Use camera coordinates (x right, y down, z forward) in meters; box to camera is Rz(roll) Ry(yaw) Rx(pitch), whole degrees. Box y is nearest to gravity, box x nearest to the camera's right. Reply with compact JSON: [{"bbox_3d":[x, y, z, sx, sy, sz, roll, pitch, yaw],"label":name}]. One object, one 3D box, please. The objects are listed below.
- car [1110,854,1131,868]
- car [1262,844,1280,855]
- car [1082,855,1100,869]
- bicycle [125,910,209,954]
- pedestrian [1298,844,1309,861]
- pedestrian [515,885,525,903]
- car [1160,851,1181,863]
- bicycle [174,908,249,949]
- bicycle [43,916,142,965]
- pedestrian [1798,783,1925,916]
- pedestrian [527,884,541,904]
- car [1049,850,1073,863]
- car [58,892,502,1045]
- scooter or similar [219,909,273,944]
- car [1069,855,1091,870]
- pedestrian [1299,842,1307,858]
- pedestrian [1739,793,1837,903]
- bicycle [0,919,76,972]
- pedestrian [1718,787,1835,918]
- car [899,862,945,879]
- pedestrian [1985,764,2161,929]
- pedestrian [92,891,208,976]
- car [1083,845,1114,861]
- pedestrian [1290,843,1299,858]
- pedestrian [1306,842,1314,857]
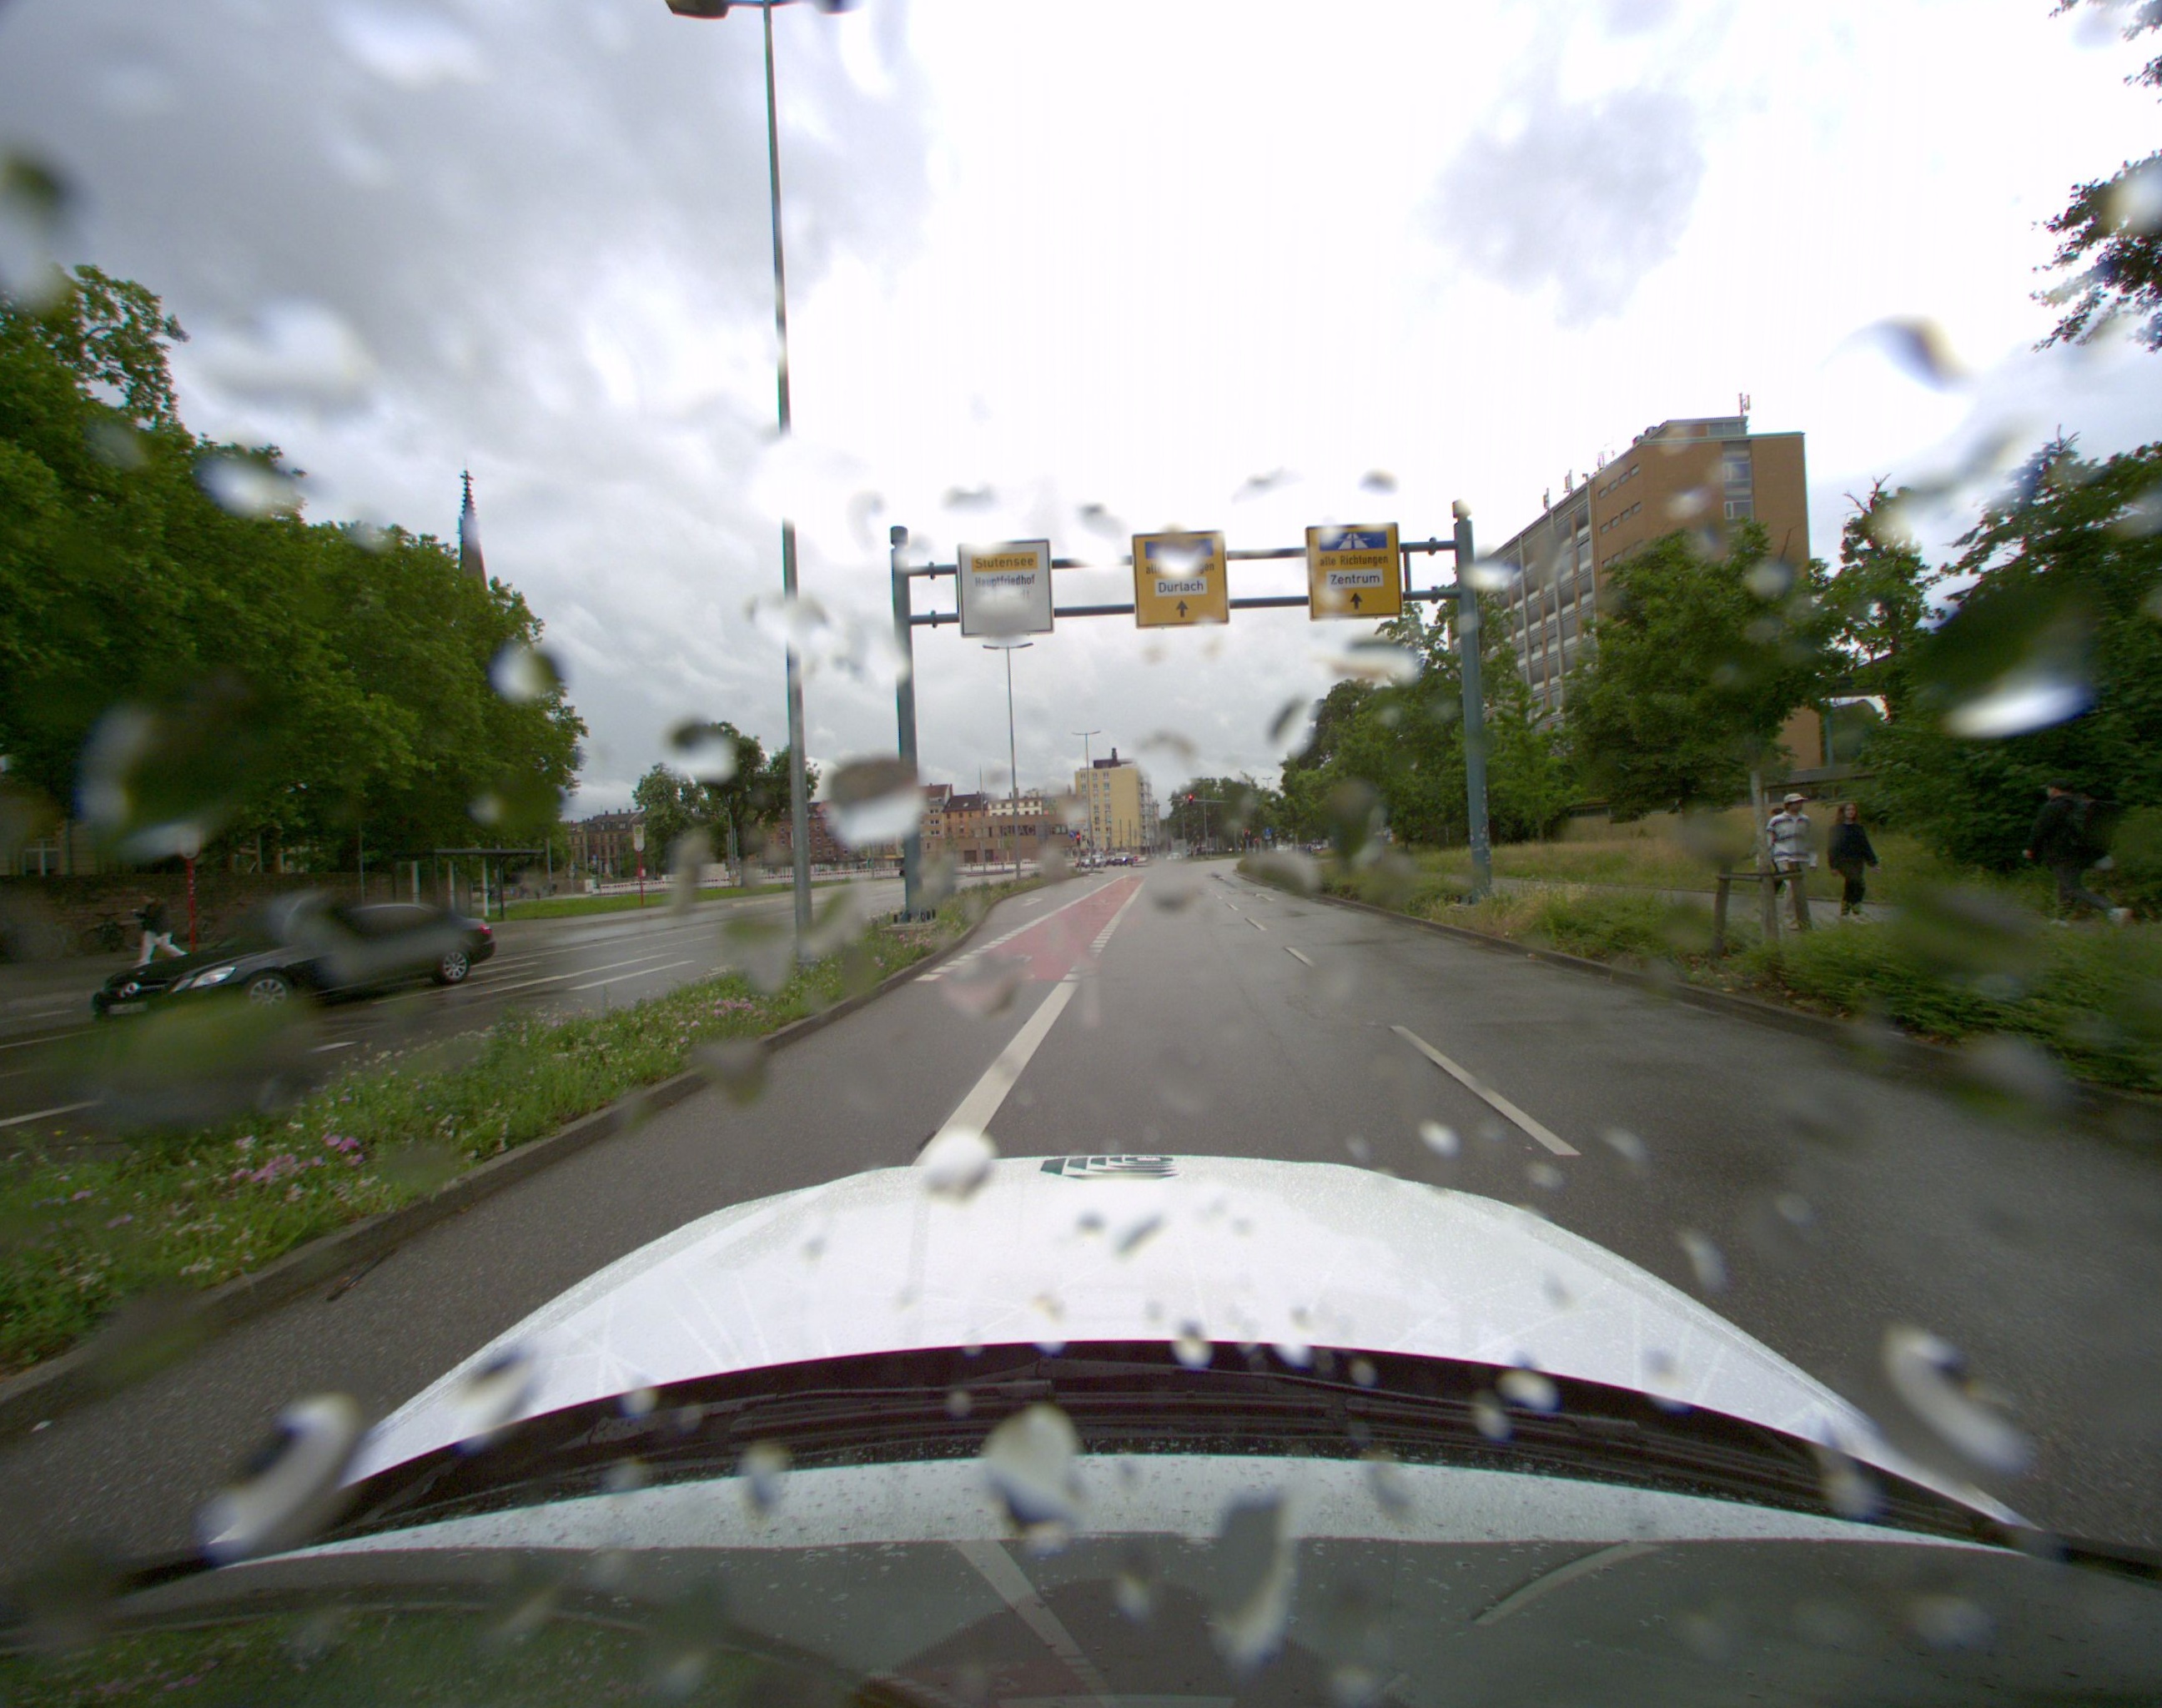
[{"bbox_3d":[5.190,0.886,106.164,1.981,1.636,4.617,-5,0,11],"label":"car"},{"bbox_3d":[31.857,-0.762,136.179,1.773,1.643,4.185,-3,0,29],"label":"car"},{"bbox_3d":[1.209,0.909,95.510,1.670,1.404,4.165,-4,0,6],"label":"car"},{"bbox_3d":[-27.755,2.347,24.766,0.573,1.136,1.983,-3,0,-11],"label":"bicycle"},{"bbox_3d":[22.050,-0.134,80.714,1.014,1.588,0.941,-3,0,18],"label":"pedestrian"},{"bbox_3d":[-59.116,4.217,85.792,0.602,1.890,0.602,-3,0,2],"label":"pedestrian"},{"bbox_3d":[13.323,0.448,121.031,1.663,1.501,3.892,-4,0,28],"label":"car"},{"bbox_3d":[-28.456,2.405,26.694,0.573,1.136,1.983,-3,0,-11],"label":"bicycle"},{"bbox_3d":[-27.296,2.364,22.544,0.573,1.136,1.983,-3,0,-11],"label":"bicycle"},{"bbox_3d":[10.503,-0.075,11.000,0.928,1.703,0.831,-2,3,9],"label":"pedestrian"},{"bbox_3d":[-51.881,3.810,77.285,0.720,1.777,0.776,-3,0,7],"label":"pedestrian"},{"bbox_3d":[-4.900,0.519,196.921,5.317,2.887,2.346,-3,0,10],"label":"car"},{"bbox_3d":[-11.691,1.546,12.511,1.800,1.540,4.710,-5,0,5],"label":"car"},{"bbox_3d":[-28.788,2.477,28.099,0.572,1.046,1.357,-3,0,-11],"label":"scooter or similar"},{"bbox_3d":[-0.080,1.117,104.629,1.692,1.706,3.837,-3,0,17],"label":"car"},{"bbox_3d":[23.320,-0.415,85.663,0.697,1.588,0.941,-3,0,18],"label":"pedestrian"},{"bbox_3d":[12.203,-0.104,14.095,0.927,1.797,0.831,-3,0,10],"label":"pedestrian"},{"bbox_3d":[-26.707,2.302,20.567,0.574,1.136,1.981,-3,0,-15],"label":"bicycle"},{"bbox_3d":[9.566,-0.038,11.243,0.928,1.720,0.831,-2,3,9],"label":"pedestrian"},{"bbox_3d":[-15.957,1.652,81.833,4.176,1.402,1.618,-3,0,1],"label":"car"},{"bbox_3d":[11.460,-0.084,9.362,0.927,1.747,1.049,-3,0,11],"label":"pedestrian"},{"bbox_3d":[-20.391,1.710,17.882,0.866,1.695,1.399,-3,0,-2],"label":"pedestrian"},{"bbox_3d":[4.228,-0.265,195.075,6.699,3.380,2.818,-3,0,10],"label":"car"},{"bbox_3d":[22.619,-0.396,86.224,0.748,1.588,0.941,-3,0,18],"label":"pedestrian"},{"bbox_3d":[24.038,-0.455,85.358,0.697,1.588,0.941,-3,0,18],"label":"pedestrian"}]
